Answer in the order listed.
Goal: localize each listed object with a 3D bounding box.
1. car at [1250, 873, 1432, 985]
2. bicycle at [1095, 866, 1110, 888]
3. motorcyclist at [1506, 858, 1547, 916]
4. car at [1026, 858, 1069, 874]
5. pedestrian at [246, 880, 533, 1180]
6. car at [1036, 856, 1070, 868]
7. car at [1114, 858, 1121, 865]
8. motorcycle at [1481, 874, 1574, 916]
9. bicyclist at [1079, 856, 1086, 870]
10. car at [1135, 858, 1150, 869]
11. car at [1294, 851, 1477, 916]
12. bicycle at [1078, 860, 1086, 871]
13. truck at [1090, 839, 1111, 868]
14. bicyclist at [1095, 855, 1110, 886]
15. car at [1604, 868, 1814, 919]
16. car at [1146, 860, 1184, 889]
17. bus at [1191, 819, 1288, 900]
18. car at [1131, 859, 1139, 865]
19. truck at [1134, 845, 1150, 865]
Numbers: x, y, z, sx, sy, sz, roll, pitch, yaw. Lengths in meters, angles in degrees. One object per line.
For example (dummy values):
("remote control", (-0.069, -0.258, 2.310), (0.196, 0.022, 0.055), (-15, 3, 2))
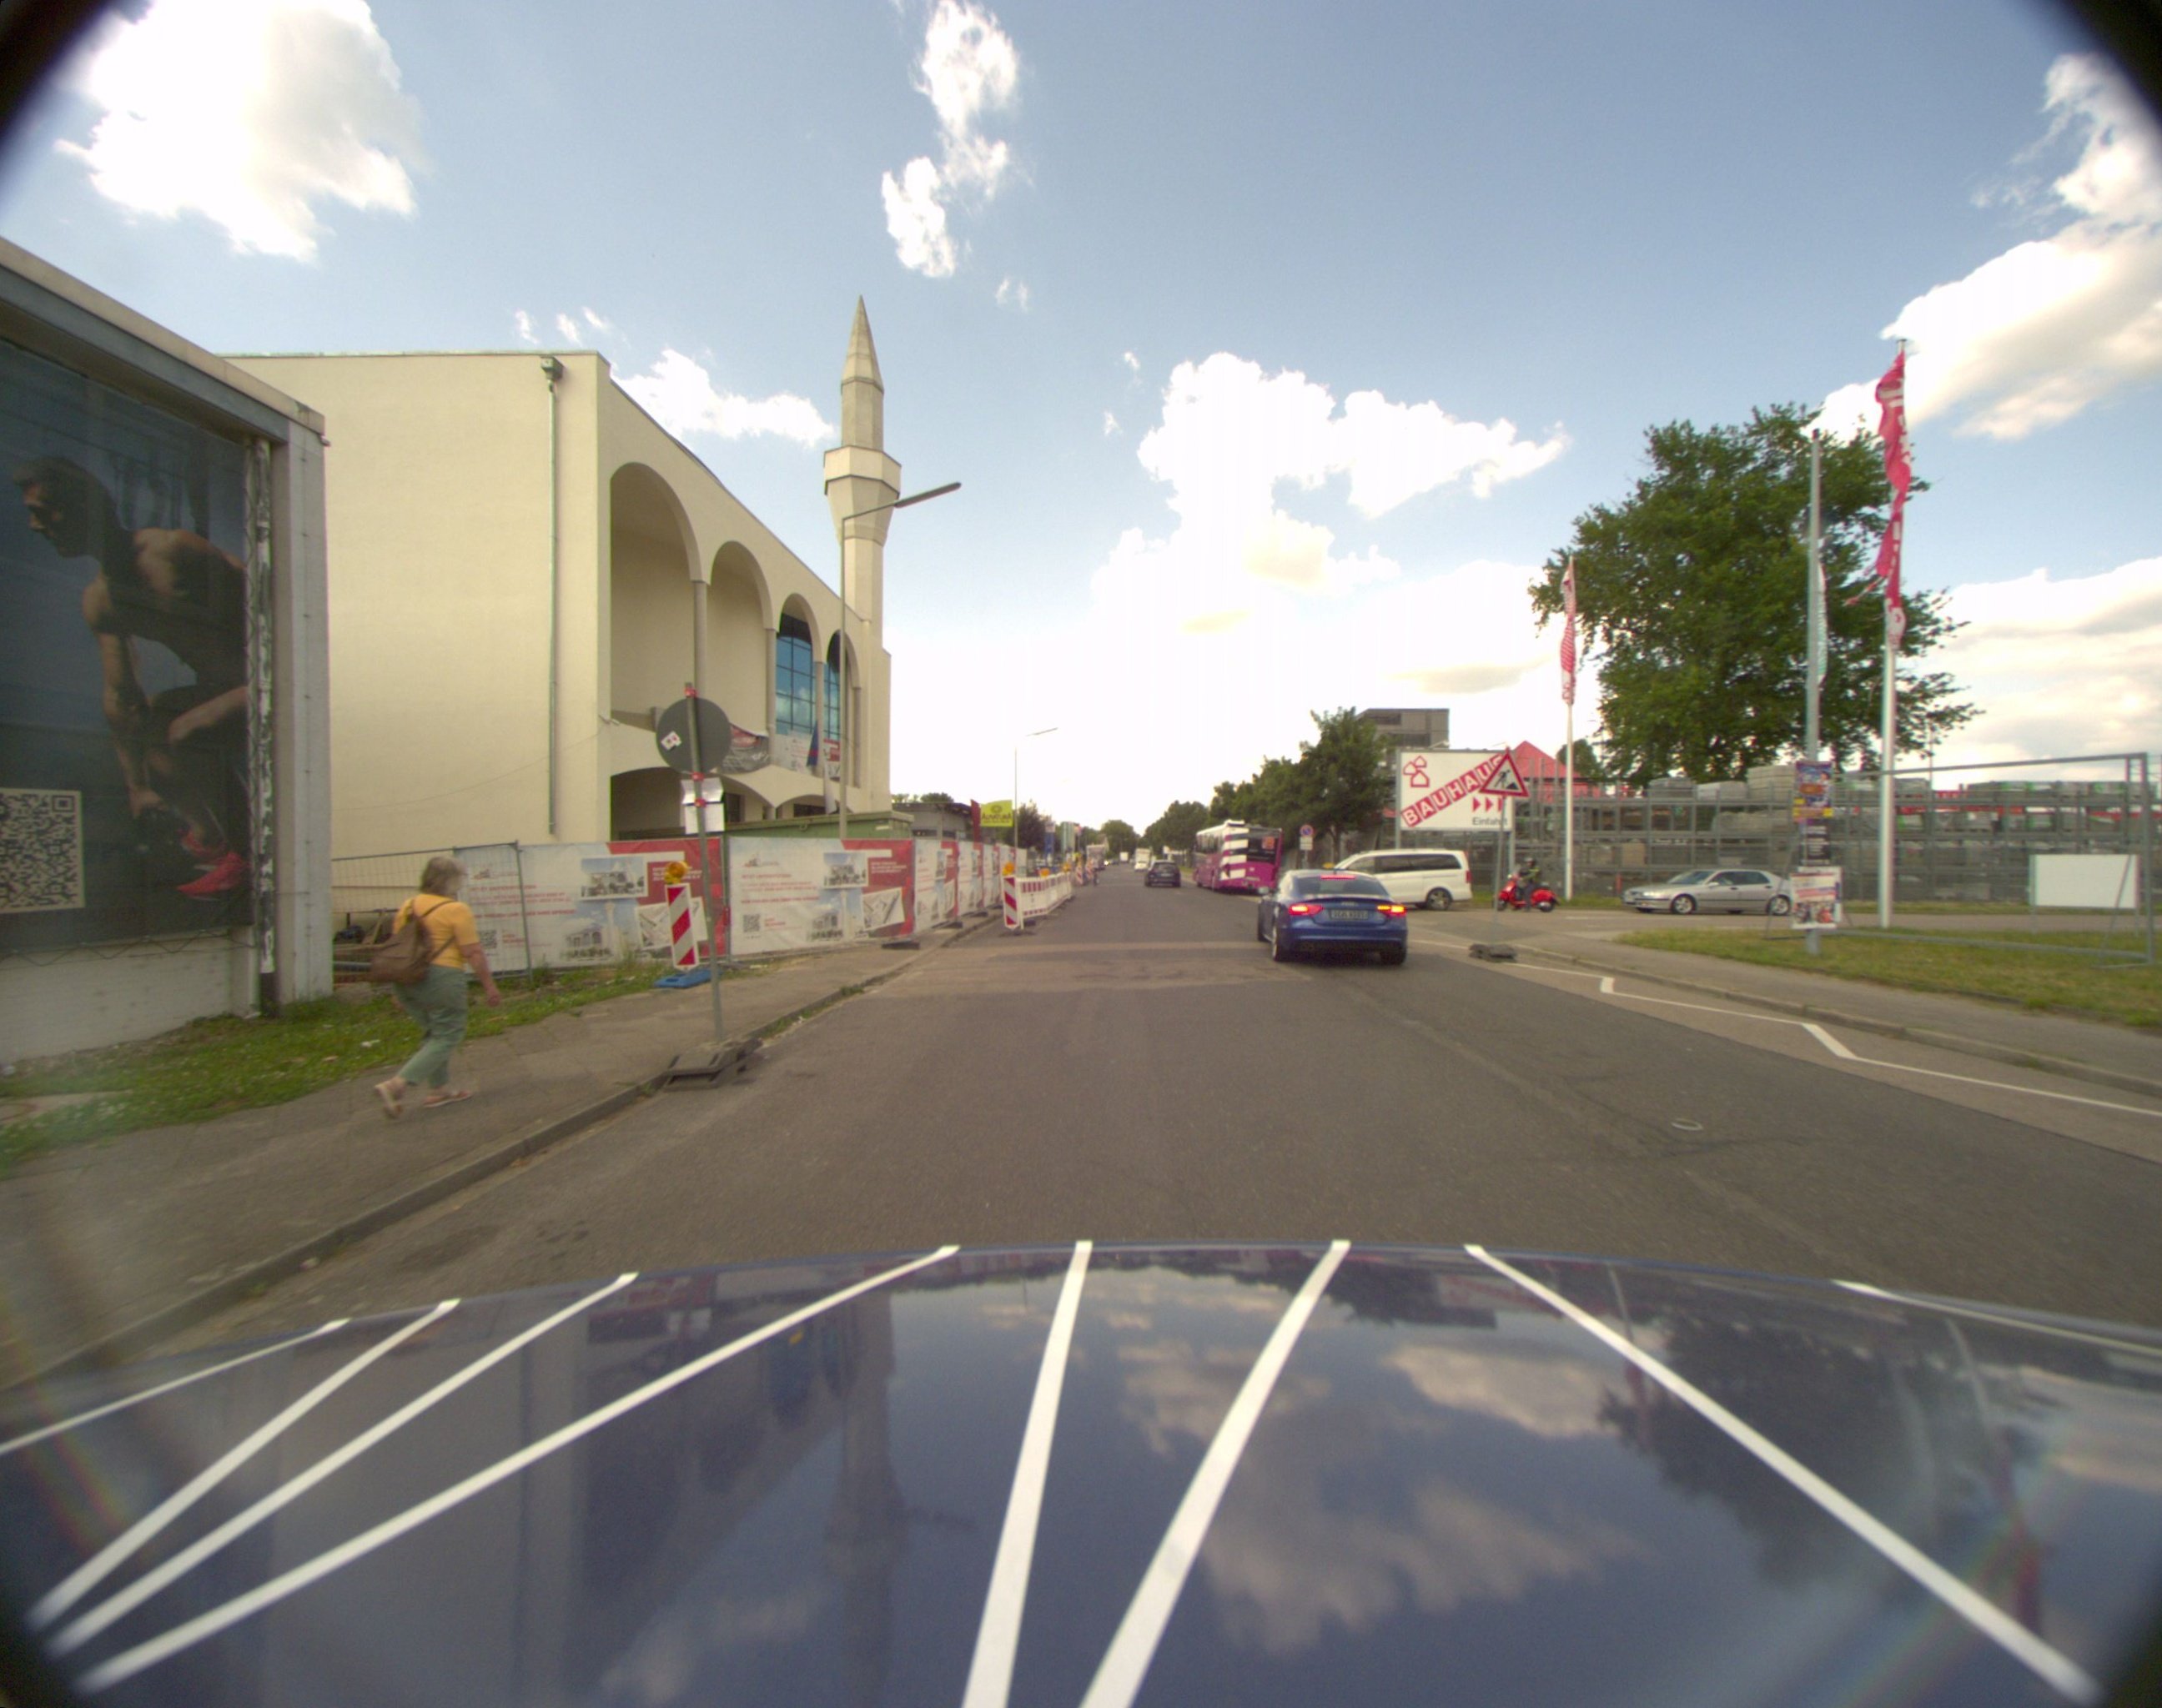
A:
("car", (3.928, 1.049, 12.294), (1.927, 1.369, 4.382), (0, 0, 7))
("bicycle", (1.233, 1.303, 43.793), (0.800, 1.173, 2.627), (-1, 0, 2))
("motorcyclist", (13.620, 0.996, 23.233), (0.675, 1.713, 0.994), (1, 0, 3))
("car", (-3.303, 1.173, 75.057), (4.113, 1.454, 1.990), (1, 0, 1))
("pedestrian", (-4.027, 0.942, 4.546), (0.683, 1.525, 1.130), (0, 1, -2))
("car", (-3.694, 1.072, 101.003), (4.318, 1.435, 1.846), (1, 0, 0))
("car", (9.625, 1.998, 200.281), (1.797, 1.881, 4.001), (0, 0, 2))
("motorcycle", (13.608, 1.246, 23.233), (2.226, 1.206, 0.994), (1, 0, 3))
("bicyclist", (0.167, 1.233, 102.657), (0.796, 1.899, 0.829), (4, 1, 4))
("car", (7.902, 1.207, 97.958), (1.687, 1.461, 3.612), (1, 0, 2))
("car", (9.429, 0.871, 23.935), (5.010, 1.938, 1.993), (0, 0, 8))
("bicycle", (0.157, 1.540, 102.612), (0.794, 1.287, 1.883), (4, 1, 4))
("truck", (3.006, -0.100, 113.722), (2.785, 4.092, 8.280), (-2, 0, 2))
("bicyclist", (1.231, 0.937, 43.826), (0.808, 1.782, 1.207), (-2, 1, 2))
("car", (19.034, 1.173, 23.224), (4.694, 1.445, 1.955), (0, 0, 4))
("car", (4.617, 1.098, 42.286), (1.800, 1.450, 4.386), (1, 0, 2))
("bus", (7.905, 0.237, 40.040), (2.669, 3.403, 13.220), (4, 0, 2))
("car", (13.647, 1.928, 191.675), (1.982, 1.565, 4.001), (0, 0, 2))
("truck", (12.138, 0.153, 152.004), (2.754, 3.701, 7.172), (2, 1, 2))
